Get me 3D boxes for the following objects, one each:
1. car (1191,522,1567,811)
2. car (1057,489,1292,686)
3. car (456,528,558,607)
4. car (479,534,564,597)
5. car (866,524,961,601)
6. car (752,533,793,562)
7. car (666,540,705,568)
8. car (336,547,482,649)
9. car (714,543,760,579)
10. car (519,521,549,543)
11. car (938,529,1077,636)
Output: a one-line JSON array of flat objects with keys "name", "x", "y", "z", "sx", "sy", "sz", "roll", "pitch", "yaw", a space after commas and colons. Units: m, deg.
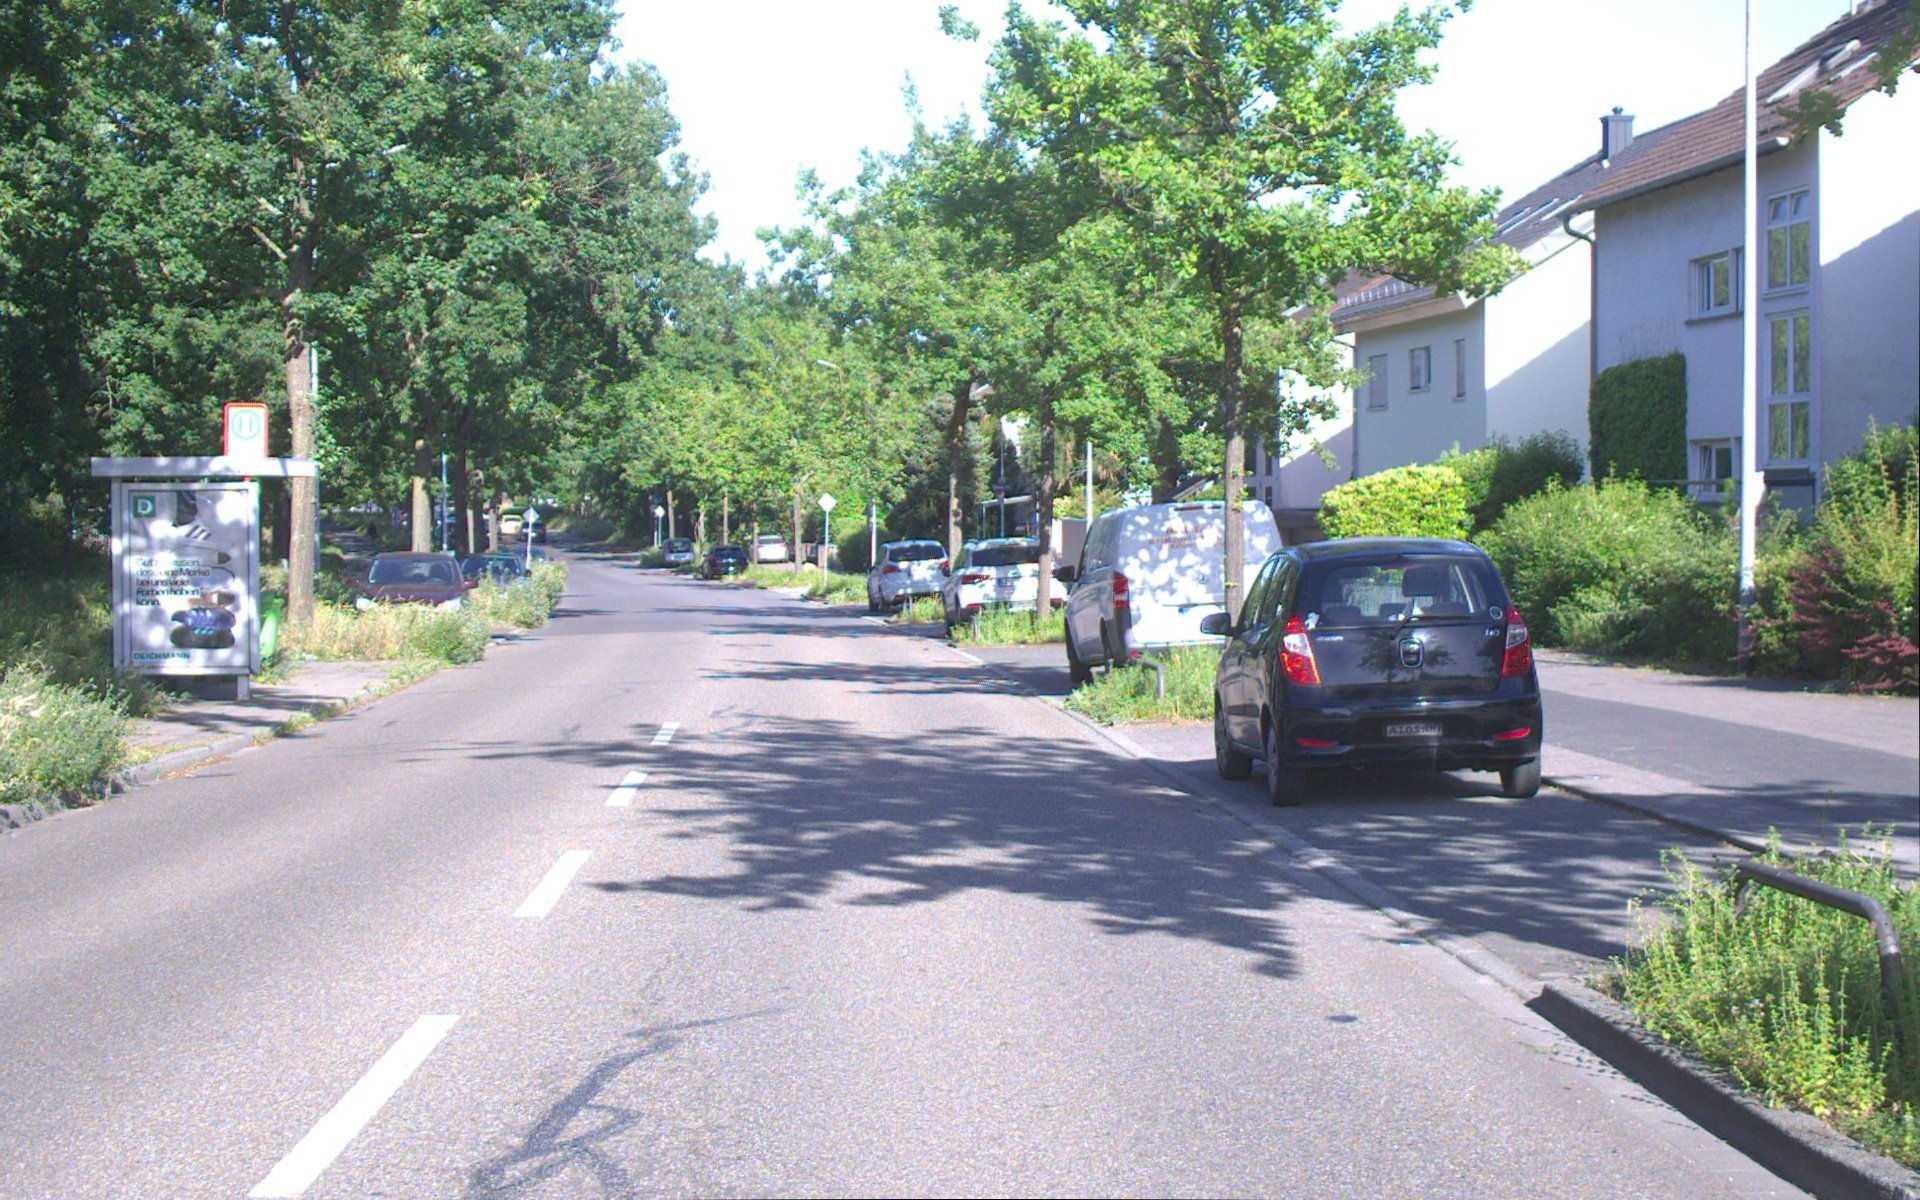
[{"name": "car", "x": 2.482, "y": 0.337, "z": 21.177, "sx": 1.672, "sy": 1.573, "sz": 3.752, "roll": -2, "pitch": 1, "yaw": -2}, {"name": "car", "x": 2.202, "y": -0.161, "z": 36.552, "sx": 1.835, "sy": 1.964, "sz": 4.760, "roll": 0, "pitch": 1, "yaw": -4}, {"name": "car", "x": -9.303, "y": -0.687, "z": 70.822, "sx": 1.993, "sy": 1.551, "sz": 4.001, "roll": 1, "pitch": 1, "yaw": -7}, {"name": "car", "x": -10.537, "y": -0.836, "z": 82.741, "sx": 1.796, "sy": 1.474, "sz": 3.520, "roll": 0, "pitch": 1, "yaw": -3}, {"name": "car", "x": -1.091, "y": -0.869, "z": 79.196, "sx": 1.933, "sy": 1.736, "sz": 4.001, "roll": 0, "pitch": 1, "yaw": -4}, {"name": "car", "x": -9.503, "y": -2.671, "z": 174.175, "sx": 1.933, "sy": 1.449, "sz": 4.001, "roll": 0, "pitch": 1, "yaw": -6}, {"name": "car", "x": -14.076, "y": -2.367, "z": 176.337, "sx": 1.933, "sy": 1.449, "sz": 4.001, "roll": 0, "pitch": 1, "yaw": -6}, {"name": "car", "x": -8.219, "y": -0.059, "z": 51.544, "sx": 1.935, "sy": 1.474, "sz": 4.001, "roll": 0, "pitch": 1, "yaw": -6}, {"name": "car", "x": -9.644, "y": -1.683, "z": 148.238, "sx": 1.933, "sy": 1.537, "sz": 4.001, "roll": 0, "pitch": 1, "yaw": -4}, {"name": "car", "x": -29.112, "y": -4.634, "z": 234.769, "sx": 1.933, "sy": 1.449, "sz": 4.001, "roll": 0, "pitch": 1, "yaw": -6}, {"name": "car", "x": 0.738, "y": -0.310, "z": 56.657, "sx": 1.935, "sy": 1.698, "sz": 4.001, "roll": 0, "pitch": 1, "yaw": -4}]
